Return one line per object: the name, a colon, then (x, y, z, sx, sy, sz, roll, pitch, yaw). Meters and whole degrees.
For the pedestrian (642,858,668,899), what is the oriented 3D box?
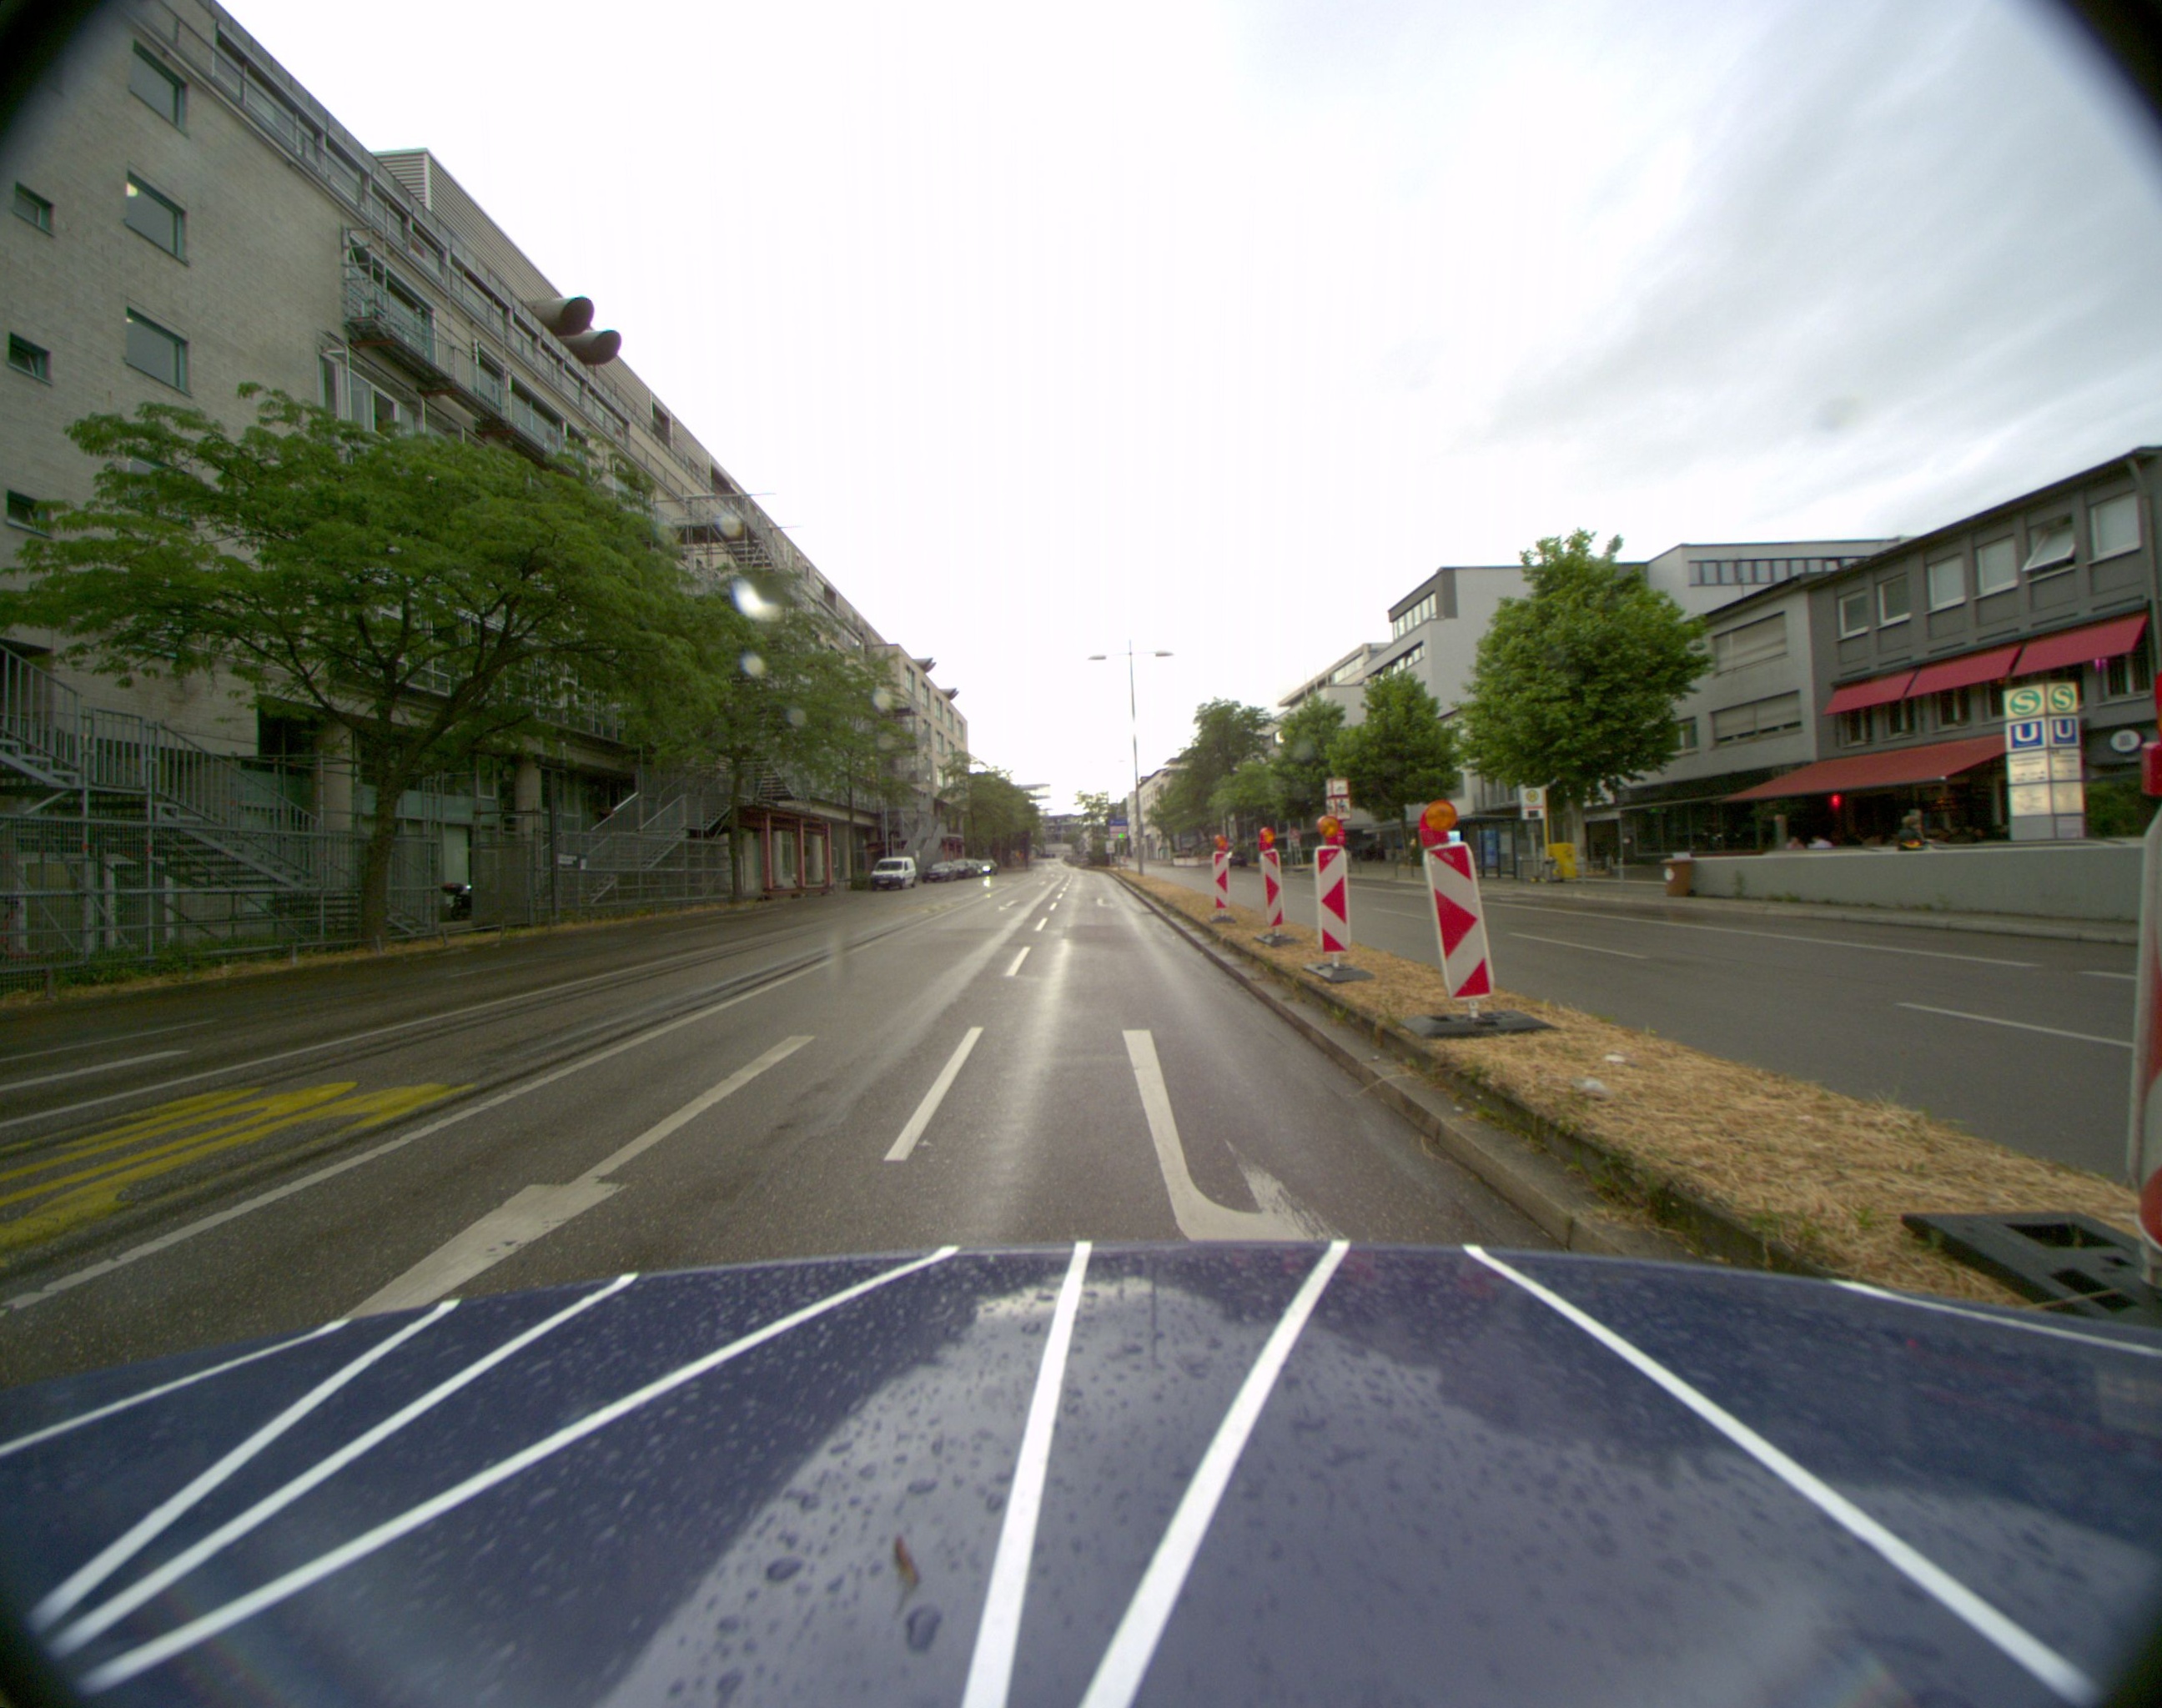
pedestrian: (-18.384, 1.036, 32.823, 0.677, 1.732, 0.653, -1, 1, 3)

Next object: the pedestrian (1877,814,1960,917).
pedestrian: (15.818, 0.215, 14.365, 0.691, 1.874, 0.758, -2, 1, -4)

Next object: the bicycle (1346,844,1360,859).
bicycle: (23.813, -0.211, 66.525, 1.148, 1.217, 0.405, -1, 1, 6)

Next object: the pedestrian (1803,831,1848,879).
pedestrian: (23.180, 0.034, 23.667, 0.691, 1.442, 0.707, -2, 1, -4)

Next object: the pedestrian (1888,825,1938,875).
pedestrian: (24.947, -0.116, 22.799, 0.728, 1.442, 0.691, -2, 1, -6)

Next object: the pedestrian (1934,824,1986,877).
pedestrian: (24.772, -0.106, 21.422, 0.635, 1.442, 0.691, -2, 1, -6)

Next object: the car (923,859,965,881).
car: (-9.780, 1.102, 54.553, 1.873, 1.429, 4.922, -2, 0, 3)

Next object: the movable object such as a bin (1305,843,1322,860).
movable object such as a bin: (21.703, -0.220, 70.923, 1.281, 1.480, 1.088, -2, 1, 1)

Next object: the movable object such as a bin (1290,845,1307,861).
movable object such as a bin: (20.308, -0.105, 70.932, 1.281, 1.418, 1.088, -2, 1, 1)

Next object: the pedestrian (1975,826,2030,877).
pedestrian: (24.918, -0.054, 20.562, 0.635, 1.336, 0.691, -2, 1, -6)

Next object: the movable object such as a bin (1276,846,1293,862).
movable object such as a bin: (18.957, 0.017, 70.906, 1.281, 1.418, 1.088, -2, 1, 1)

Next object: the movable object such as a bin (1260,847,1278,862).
movable object such as a bin: (17.516, 0.053, 70.905, 1.362, 1.418, 1.088, -2, 1, 1)

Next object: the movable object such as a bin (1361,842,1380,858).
movable object such as a bin: (26.836, -0.351, 70.402, 1.088, 1.427, 1.281, -2, 0, -9)

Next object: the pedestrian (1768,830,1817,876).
pedestrian: (23.105, -0.028, 24.701, 0.691, 1.442, 0.914, -2, 0, -4)

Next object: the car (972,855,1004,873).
car: (-8.852, 0.942, 72.639, 1.998, 1.591, 5.290, -2, 0, 4)

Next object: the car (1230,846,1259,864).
car: (16.064, 0.097, 74.676, 1.783, 1.626, 4.023, -2, 0, -2)

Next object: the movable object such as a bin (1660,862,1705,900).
movable object such as a bin: (14.516, 0.648, 18.356, 0.533, 0.892, 0.682, 0, 0, -9)

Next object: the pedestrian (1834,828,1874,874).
pedestrian: (24.905, -0.085, 24.488, 0.691, 1.442, 0.547, -2, 1, -4)

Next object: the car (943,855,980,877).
car: (-9.590, 0.944, 61.345, 1.998, 1.636, 4.863, -2, 0, 3)

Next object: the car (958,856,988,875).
car: (-9.446, 0.956, 66.720, 1.866, 1.591, 4.593, -2, 0, 1)

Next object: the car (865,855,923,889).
car: (-10.451, 0.957, 42.807, 1.998, 1.739, 4.526, -2, 0, 1)

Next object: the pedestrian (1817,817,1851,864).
pedestrian: (25.947, -0.459, 26.185, 0.598, 1.561, 0.604, -2, 1, -9)

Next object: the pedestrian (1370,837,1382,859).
pedestrian: (24.141, -0.500, 62.211, 0.698, 1.753, 0.653, -1, 1, 3)

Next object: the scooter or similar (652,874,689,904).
scooter or similar: (-17.181, 1.453, 31.838, 0.633, 1.155, 1.547, -2, 0, 1)

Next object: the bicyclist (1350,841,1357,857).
bicyclist: (23.848, -0.403, 66.521, 0.424, 1.393, 0.408, -1, 1, 6)
